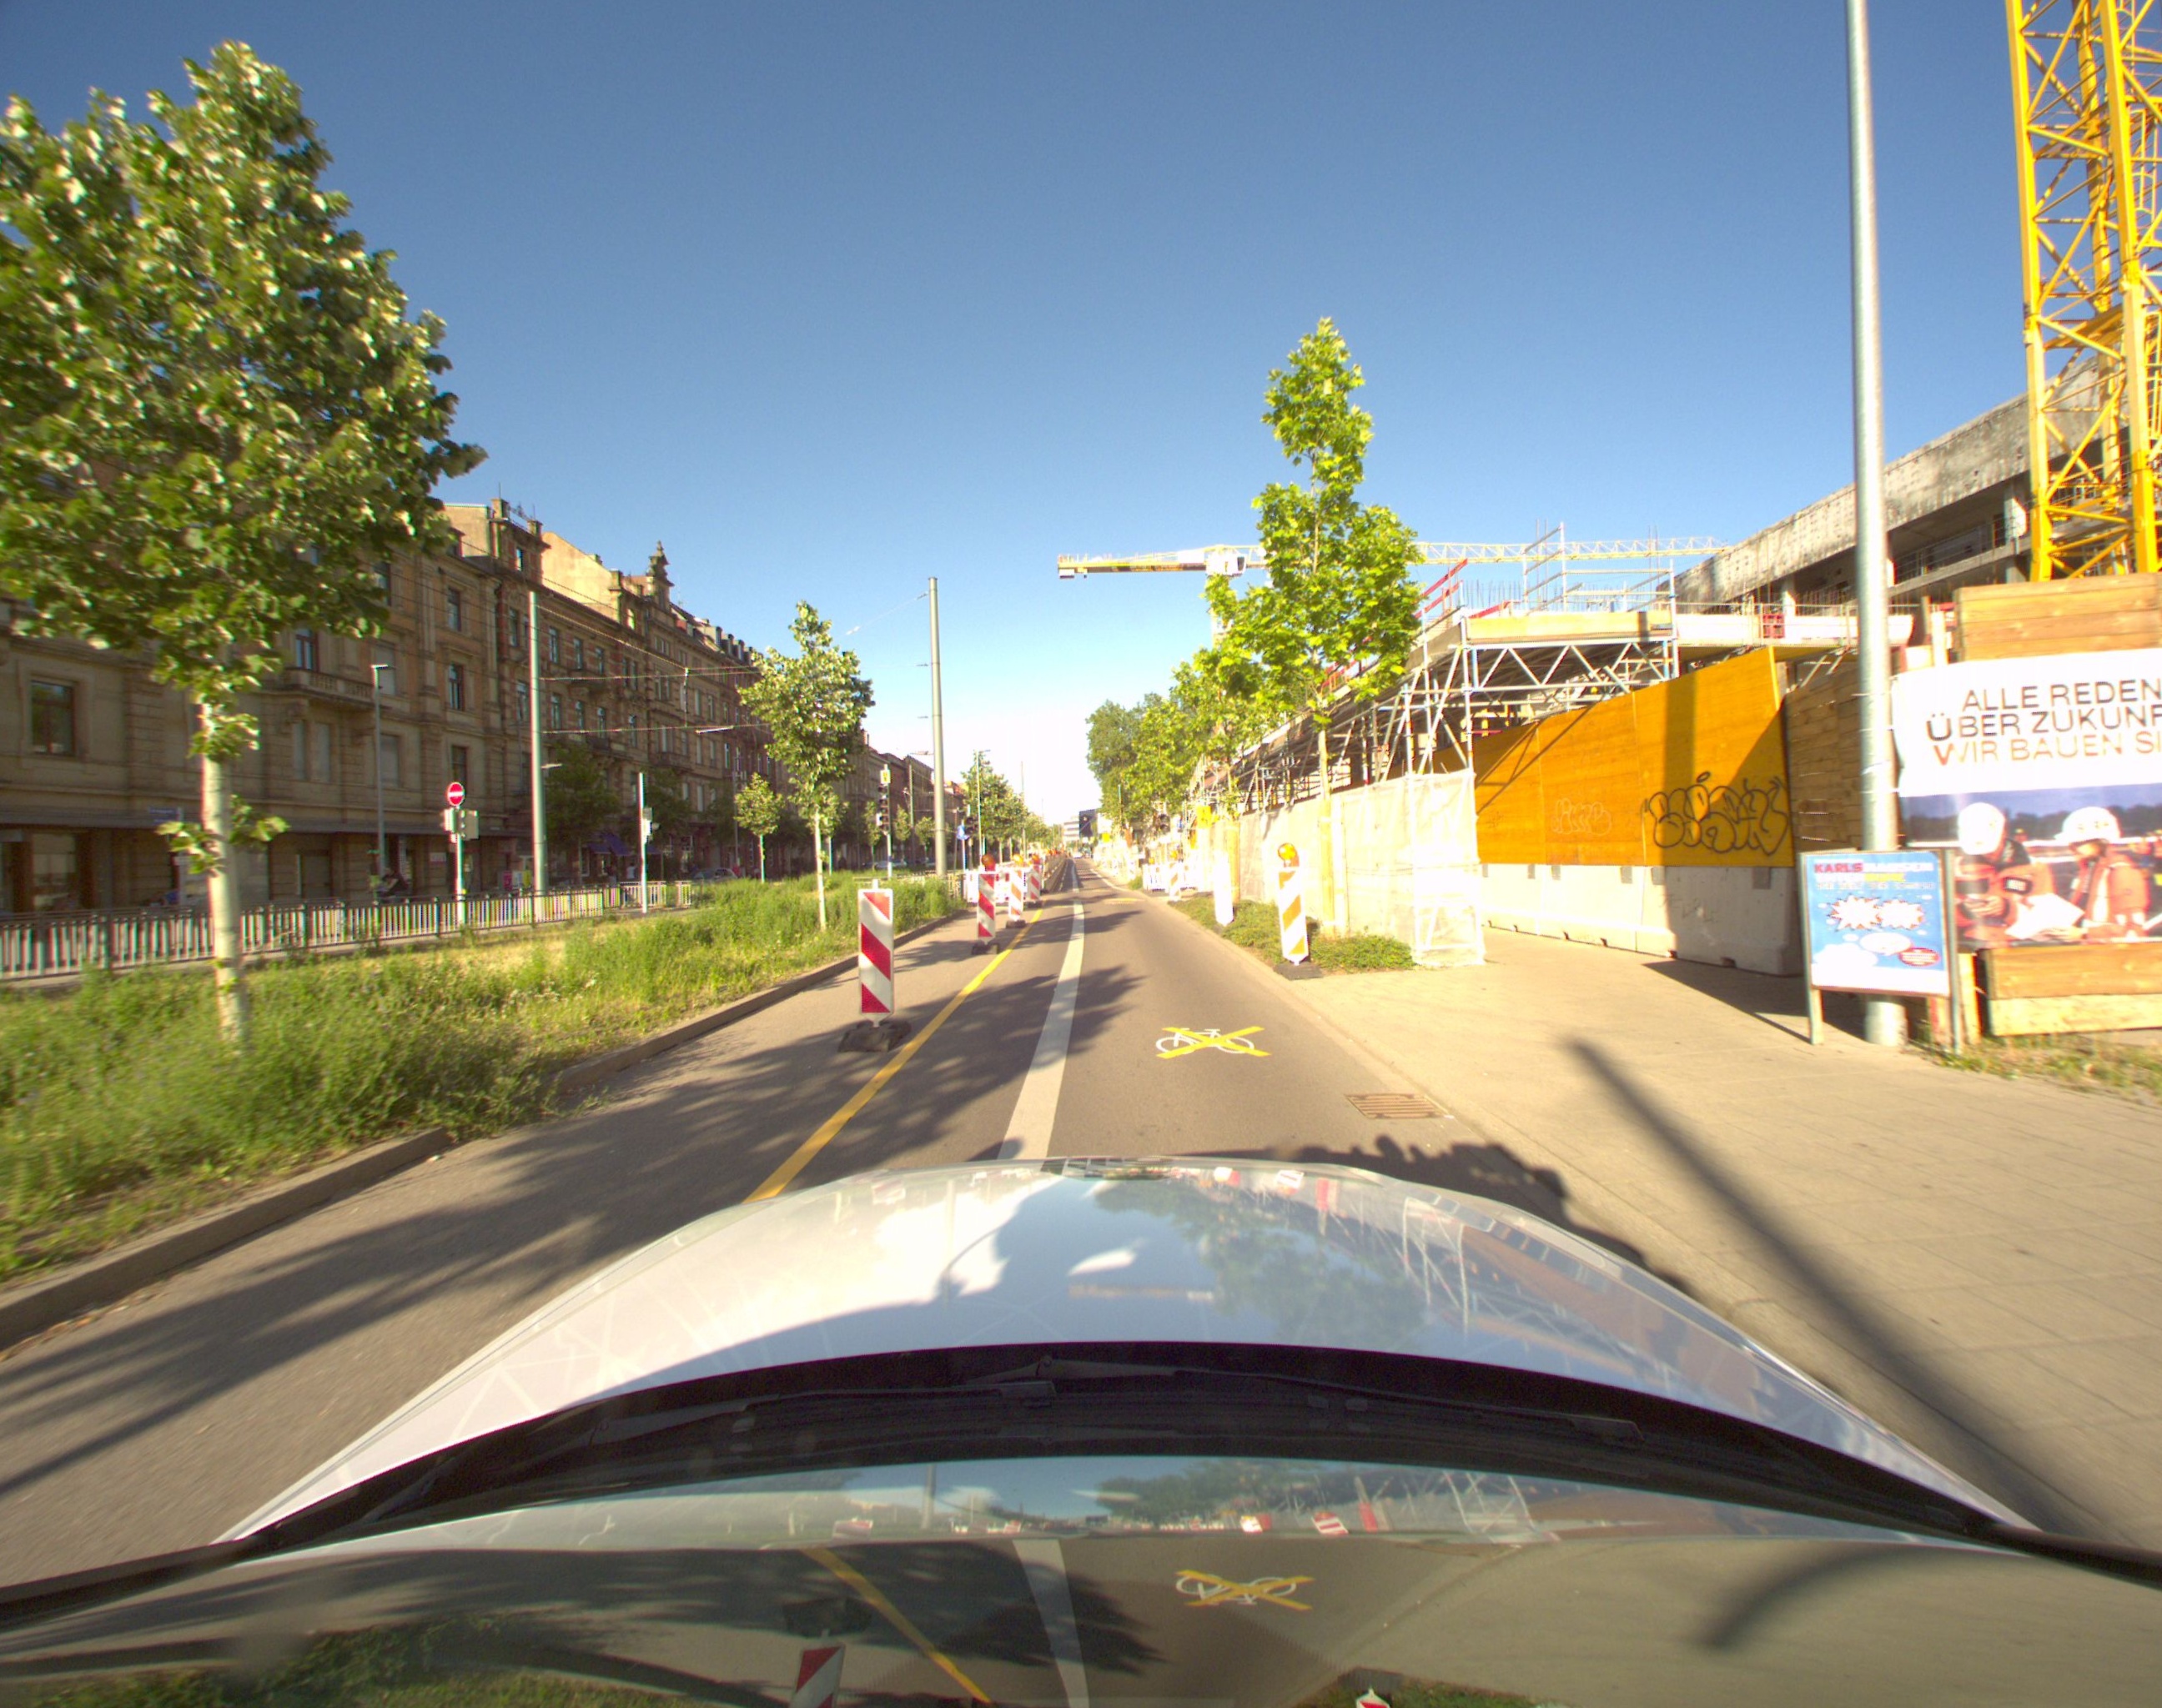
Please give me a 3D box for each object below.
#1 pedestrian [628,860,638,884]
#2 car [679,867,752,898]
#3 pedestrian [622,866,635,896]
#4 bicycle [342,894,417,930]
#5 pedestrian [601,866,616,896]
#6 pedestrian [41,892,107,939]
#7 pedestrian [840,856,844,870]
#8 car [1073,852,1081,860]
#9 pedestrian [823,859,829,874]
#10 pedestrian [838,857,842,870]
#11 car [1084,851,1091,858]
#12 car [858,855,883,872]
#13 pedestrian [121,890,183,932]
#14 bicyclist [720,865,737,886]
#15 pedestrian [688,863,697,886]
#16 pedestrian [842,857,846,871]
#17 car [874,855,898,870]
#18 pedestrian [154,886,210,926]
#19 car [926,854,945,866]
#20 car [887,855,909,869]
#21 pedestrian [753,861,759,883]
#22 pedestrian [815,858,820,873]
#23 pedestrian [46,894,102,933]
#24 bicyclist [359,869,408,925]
[{"bbox_3d":[-29.763,1.199,54.090,0.381,1.585,0.393,0,0,30],"label":"pedestrian"},{"bbox_3d":[-18.366,1.405,41.134,1.846,1.420,4.070,0,0,0],"label":"car"},{"bbox_3d":[-26.421,1.574,47.542,0.506,1.764,0.406,0,0,-1],"label":"pedestrian"},{"bbox_3d":[-21.617,1.773,25.157,0.692,0.978,1.827,-2,0,1],"label":"bicycle"},{"bbox_3d":[-26.031,1.482,44.883,0.485,1.585,0.533,0,0,-1],"label":"pedestrian"},{"bbox_3d":[-28.426,1.719,23.002,0.688,1.246,0.929,-2,0,0],"label":"pedestrian"},{"bbox_3d":[-27.271,1.034,92.899,0.404,1.532,0.435,0,0,-1],"label":"pedestrian"},{"bbox_3d":[-1.018,0.563,194.179,1.877,1.842,3.666,-2,0,-1],"label":"car"},{"bbox_3d":[-27.273,1.370,87.089,0.427,1.585,0.339,0,0,1],"label":"pedestrian"},{"bbox_3d":[-27.513,1.084,92.938,0.404,1.534,0.435,0,0,-1],"label":"pedestrian"},{"bbox_3d":[1.845,0.202,226.724,1.877,1.842,3.666,-2,0,-1],"label":"car"},{"bbox_3d":[-22.400,0.981,86.736,1.562,1.675,3.808,-2,0,-1],"label":"car"},{"bbox_3d":[-28.169,1.718,24.713,0.788,1.208,0.929,-2,0,0],"label":"pedestrian"},{"bbox_3d":[-20.914,1.277,48.339,0.635,1.239,0.738,-2,0,0],"label":"bicyclist"},{"bbox_3d":[-27.114,1.423,56.824,0.402,1.585,0.425,0,0,-1],"label":"pedestrian"},{"bbox_3d":[-28.512,1.210,97.994,0.460,1.585,0.434,0,0,-7],"label":"pedestrian"},{"bbox_3d":[-22.491,0.977,94.010,1.561,1.562,4.713,-2,0,-1],"label":"car"},{"bbox_3d":[-28.579,1.640,25.902,0.688,1.208,0.929,-2,0,0],"label":"pedestrian"},{"bbox_3d":[-18.166,0.733,101.555,1.589,1.483,3.624,-2,0,1],"label":"car"},{"bbox_3d":[-22.589,0.966,100.612,1.562,1.562,4.712,-2,0,-1],"label":"car"},{"bbox_3d":[-27.019,1.497,67.672,0.365,1.764,0.406,0,0,-1],"label":"pedestrian"},{"bbox_3d":[-28.131,1.228,87.050,0.432,1.585,0.385,0,0,-3],"label":"pedestrian"},{"bbox_3d":[-29.397,1.734,23.786,0.688,1.059,0.736,-2,0,0],"label":"pedestrian"},{"bbox_3d":[-21.636,1.320,25.269,0.693,1.657,0.882,-2,0,0],"label":"bicyclist"}]
